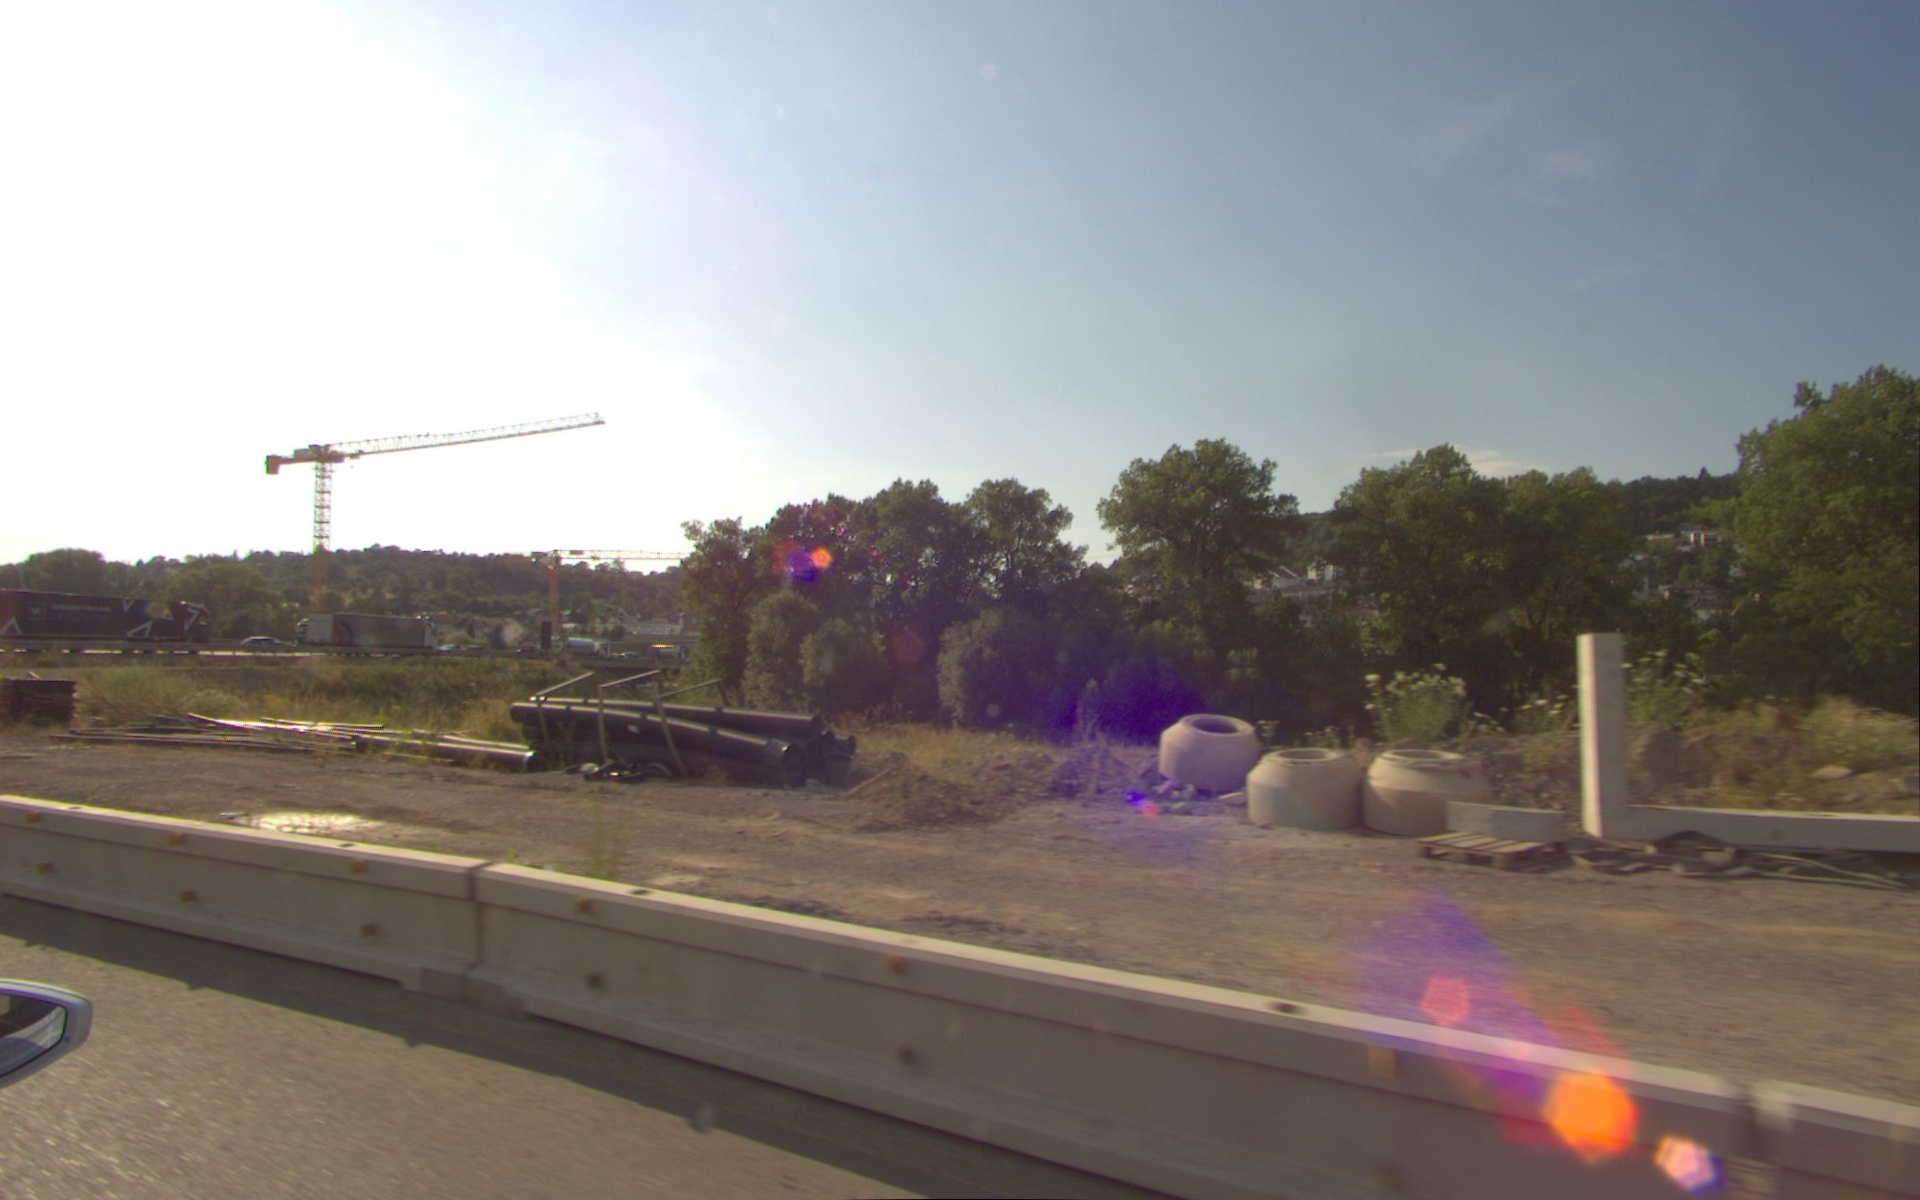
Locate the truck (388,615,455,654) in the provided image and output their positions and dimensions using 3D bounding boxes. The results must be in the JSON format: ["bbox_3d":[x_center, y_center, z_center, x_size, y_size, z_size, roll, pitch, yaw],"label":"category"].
[{"bbox_3d":[-59.338,3.874,110.598,3.289,4.045,6.631,2,-3,4],"label":"truck"}]

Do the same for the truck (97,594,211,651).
[{"bbox_3d":[-62.062,1.829,77.306,2.838,4.045,6.631,1,-3,6],"label":"truck"}]

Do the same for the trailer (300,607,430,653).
[{"bbox_3d":[-59.964,3.262,101.771,3.330,4.045,14.760,2,-4,4],"label":"trailer"}]

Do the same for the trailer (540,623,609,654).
[{"bbox_3d":[-56.474,5.740,147.423,3.330,4.045,14.760,2,-4,4],"label":"trailer"}]

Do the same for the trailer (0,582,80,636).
[{"bbox_3d":[-72.420,0.671,75.535,2.958,3.797,9.579,0,-4,5],"label":"trailer"}]

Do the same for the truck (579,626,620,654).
[{"bbox_3d":[-55.902,6.276,155.452,3.335,4.045,6.631,2,-3,4],"label":"truck"}]

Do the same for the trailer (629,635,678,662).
[{"bbox_3d":[-54.335,8.727,178.063,3.053,4.366,14.266,2,-4,4],"label":"trailer"}]

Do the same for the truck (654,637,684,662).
[{"bbox_3d":[-53.804,9.191,185.145,3.047,4.337,6.631,2,-3,4],"label":"truck"}]

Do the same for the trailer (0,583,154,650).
[{"bbox_3d":[-62.760,1.306,70.165,2.911,4.141,10.804,1,-4,6],"label":"trailer"}]
